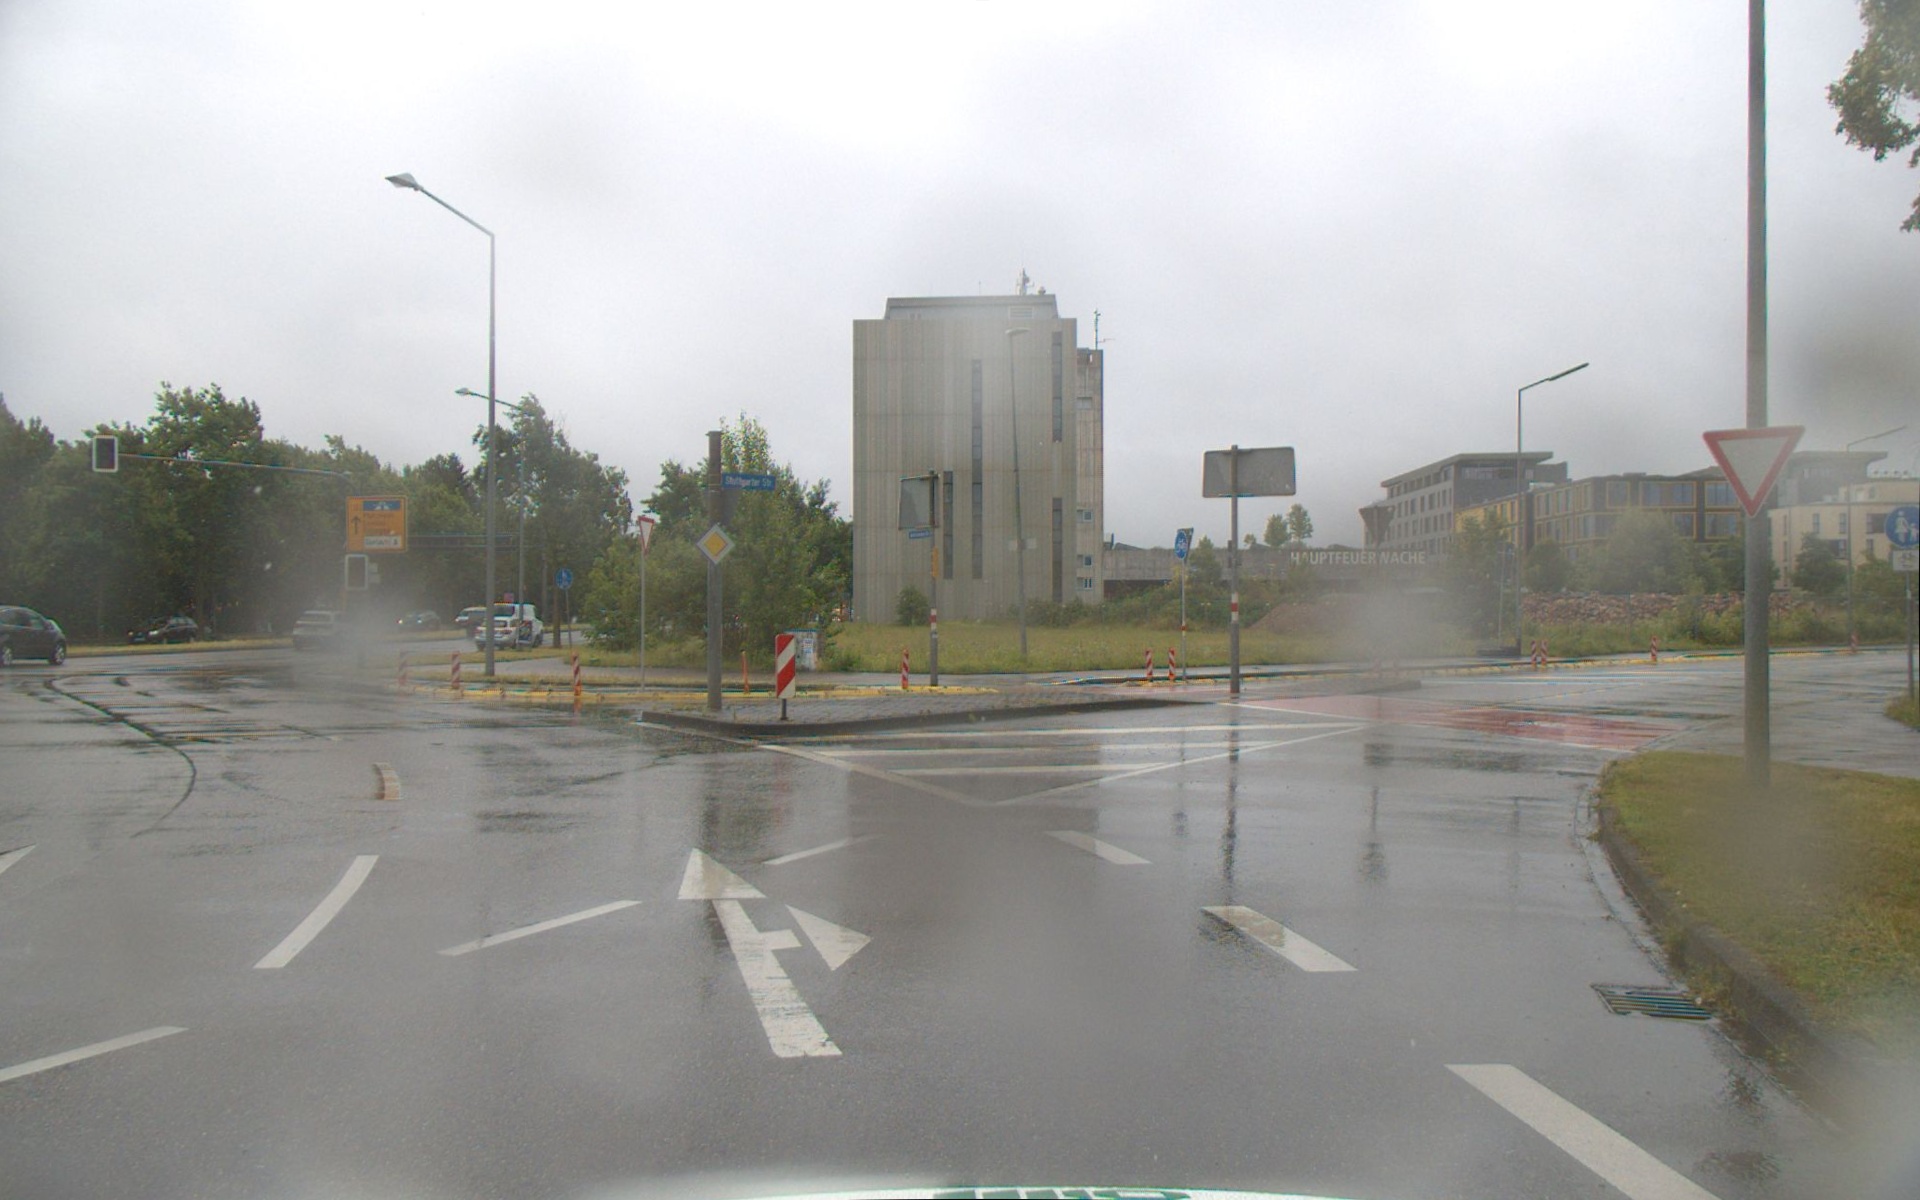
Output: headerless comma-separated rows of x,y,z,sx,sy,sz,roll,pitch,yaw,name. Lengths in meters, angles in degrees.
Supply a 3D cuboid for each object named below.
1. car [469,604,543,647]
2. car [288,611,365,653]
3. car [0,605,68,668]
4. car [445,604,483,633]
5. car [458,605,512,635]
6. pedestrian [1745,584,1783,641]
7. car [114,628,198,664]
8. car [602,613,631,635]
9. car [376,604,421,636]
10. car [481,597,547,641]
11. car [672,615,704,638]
-20.233,1.108,73.916,1.746,1.842,4.840,0,0,3,car
-26.253,1.351,68.706,1.646,1.677,3.946,2,-2,0,car
-26.548,1.008,45.740,1.748,1.677,3.996,2,-2,-5,car
-37.607,1.415,125.442,1.751,2.049,3.672,2,-2,-1,car
-25.903,1.106,90.222,1.653,1.518,3.253,1,-2,6,car
29.316,0.465,60.319,1.120,2.049,0.837,3,-2,-37,pedestrian
-39.406,2.285,81.164,1.745,1.677,4.002,1,-2,7,car
-23.829,1.655,114.908,1.656,1.518,3.246,0,0,-7,car
-38.377,1.365,113.121,1.751,2.049,3.672,2,-2,-1,car
-22.690,0.985,84.268,1.745,2.072,4.002,1,-2,8,car
-18.570,1.787,113.053,1.654,1.518,3.251,0,0,0,car
